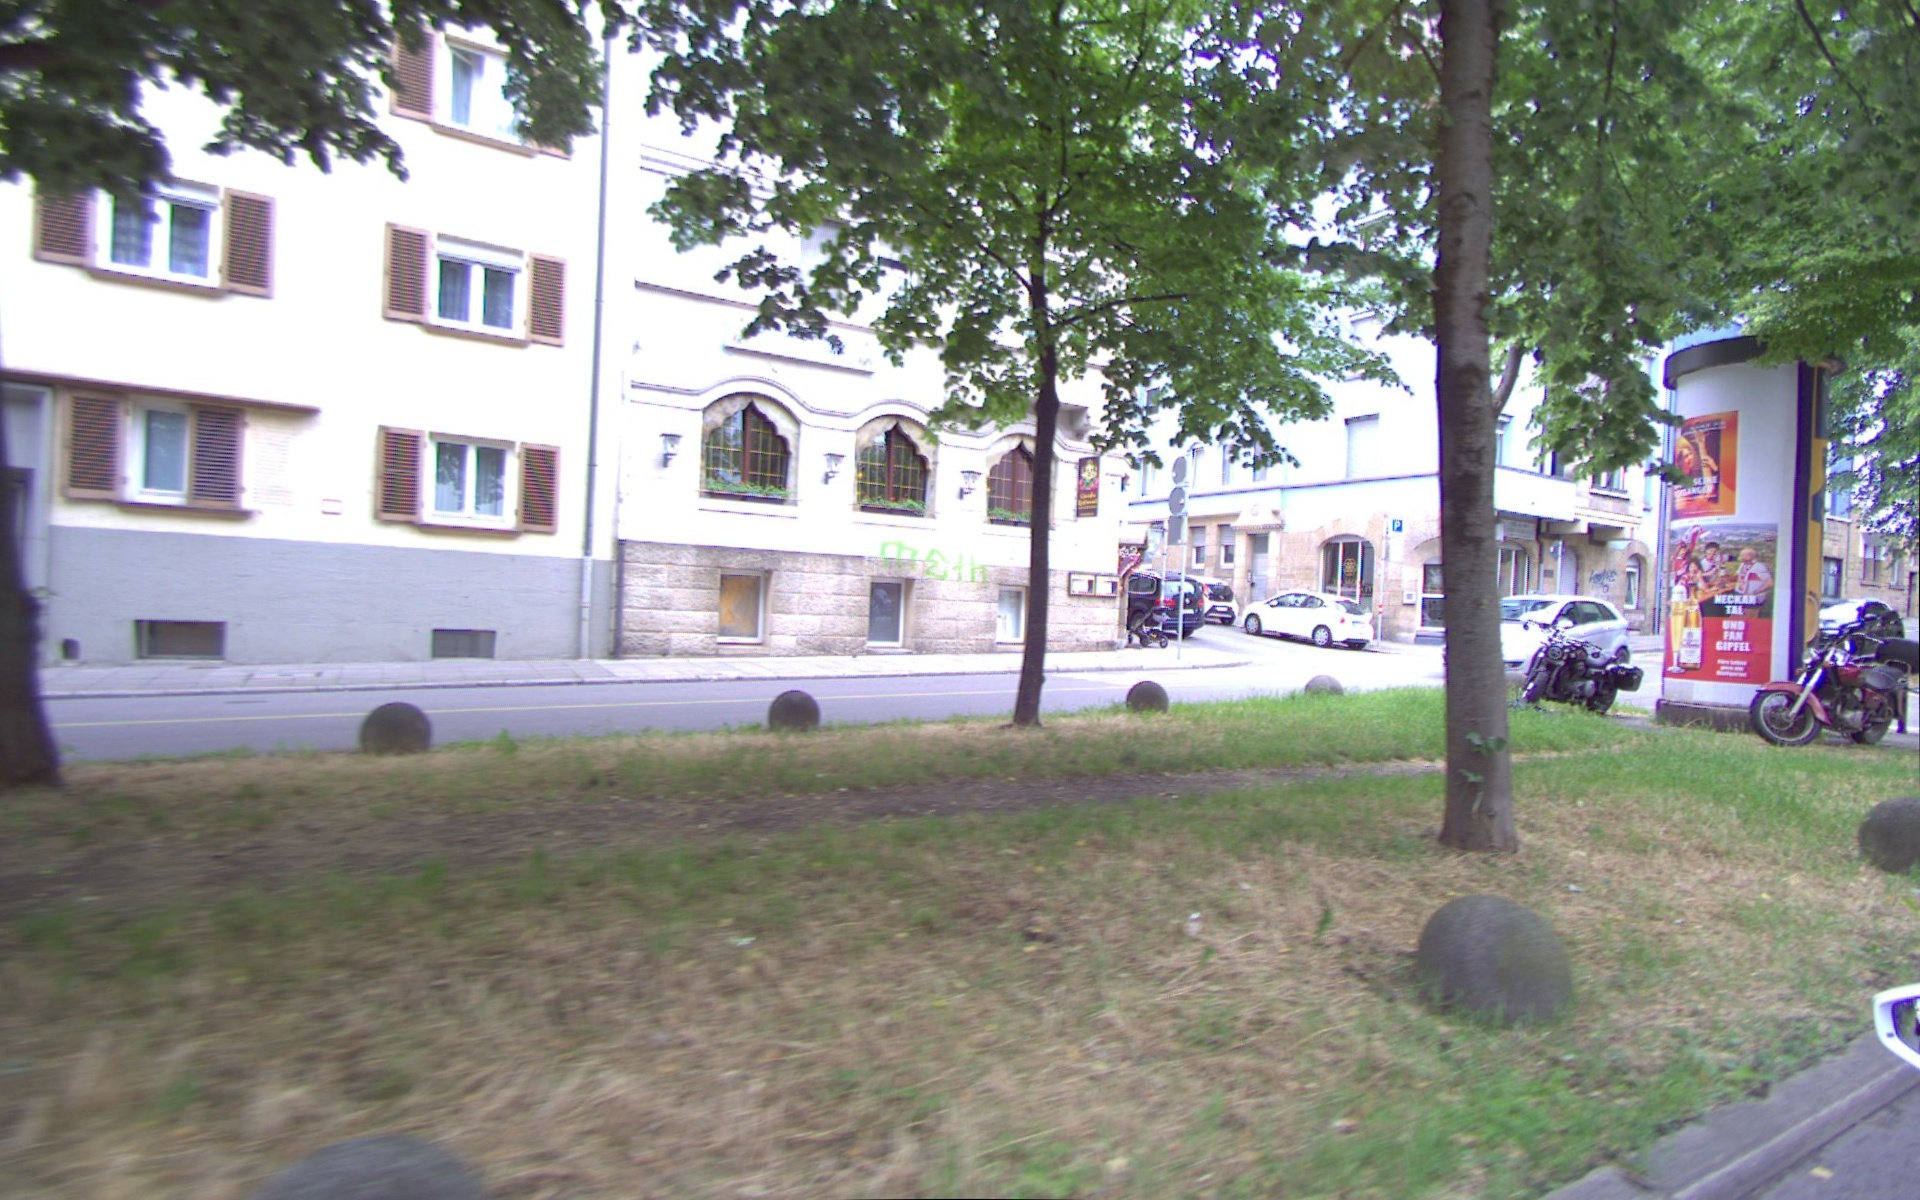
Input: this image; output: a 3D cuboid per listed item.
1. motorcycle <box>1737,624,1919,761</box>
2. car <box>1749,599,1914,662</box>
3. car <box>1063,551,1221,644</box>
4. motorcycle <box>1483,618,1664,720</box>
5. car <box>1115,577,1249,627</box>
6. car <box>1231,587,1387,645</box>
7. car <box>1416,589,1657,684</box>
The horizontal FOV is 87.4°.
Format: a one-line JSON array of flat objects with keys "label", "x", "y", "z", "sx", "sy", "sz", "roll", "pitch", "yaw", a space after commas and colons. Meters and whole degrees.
[{"label": "motorcycle", "x": 8.832, "y": 0.837, "z": 9.869, "sx": 2.419, "sy": 1.164, "sz": 1.057, "roll": 1, "pitch": 0, "yaw": -30}, {"label": "car", "x": 23.201, "y": 0.772, "z": 26.725, "sx": 4.478, "sy": 1.503, "sz": 1.984, "roll": 0, "pitch": 1, "yaw": -30}, {"label": "car", "x": 5.089, "y": -0.154, "z": 28.845, "sx": 1.973, "sy": 2.081, "sz": 4.784, "roll": 0, "pitch": 7, "yaw": -25}, {"label": "motorcycle", "x": 7.421, "y": 0.821, "z": 12.122, "sx": 2.225, "sy": 1.121, "sz": 0.896, "roll": 3, "pitch": -1, "yaw": -30}, {"label": "car", "x": 7.462, "y": 0.033, "z": 34.322, "sx": 1.973, "sy": 1.598, "sz": 4.785, "roll": 1, "pitch": 1, "yaw": -25}, {"label": "car", "x": 10.050, "y": 0.418, "z": 29.211, "sx": 1.976, "sy": 1.517, "sz": 3.968, "roll": 0, "pitch": 1, "yaw": -30}, {"label": "car", "x": 11.330, "y": 0.648, "z": 19.678, "sx": 4.759, "sy": 1.646, "sz": 1.984, "roll": 0, "pitch": 1, "yaw": -30}]
